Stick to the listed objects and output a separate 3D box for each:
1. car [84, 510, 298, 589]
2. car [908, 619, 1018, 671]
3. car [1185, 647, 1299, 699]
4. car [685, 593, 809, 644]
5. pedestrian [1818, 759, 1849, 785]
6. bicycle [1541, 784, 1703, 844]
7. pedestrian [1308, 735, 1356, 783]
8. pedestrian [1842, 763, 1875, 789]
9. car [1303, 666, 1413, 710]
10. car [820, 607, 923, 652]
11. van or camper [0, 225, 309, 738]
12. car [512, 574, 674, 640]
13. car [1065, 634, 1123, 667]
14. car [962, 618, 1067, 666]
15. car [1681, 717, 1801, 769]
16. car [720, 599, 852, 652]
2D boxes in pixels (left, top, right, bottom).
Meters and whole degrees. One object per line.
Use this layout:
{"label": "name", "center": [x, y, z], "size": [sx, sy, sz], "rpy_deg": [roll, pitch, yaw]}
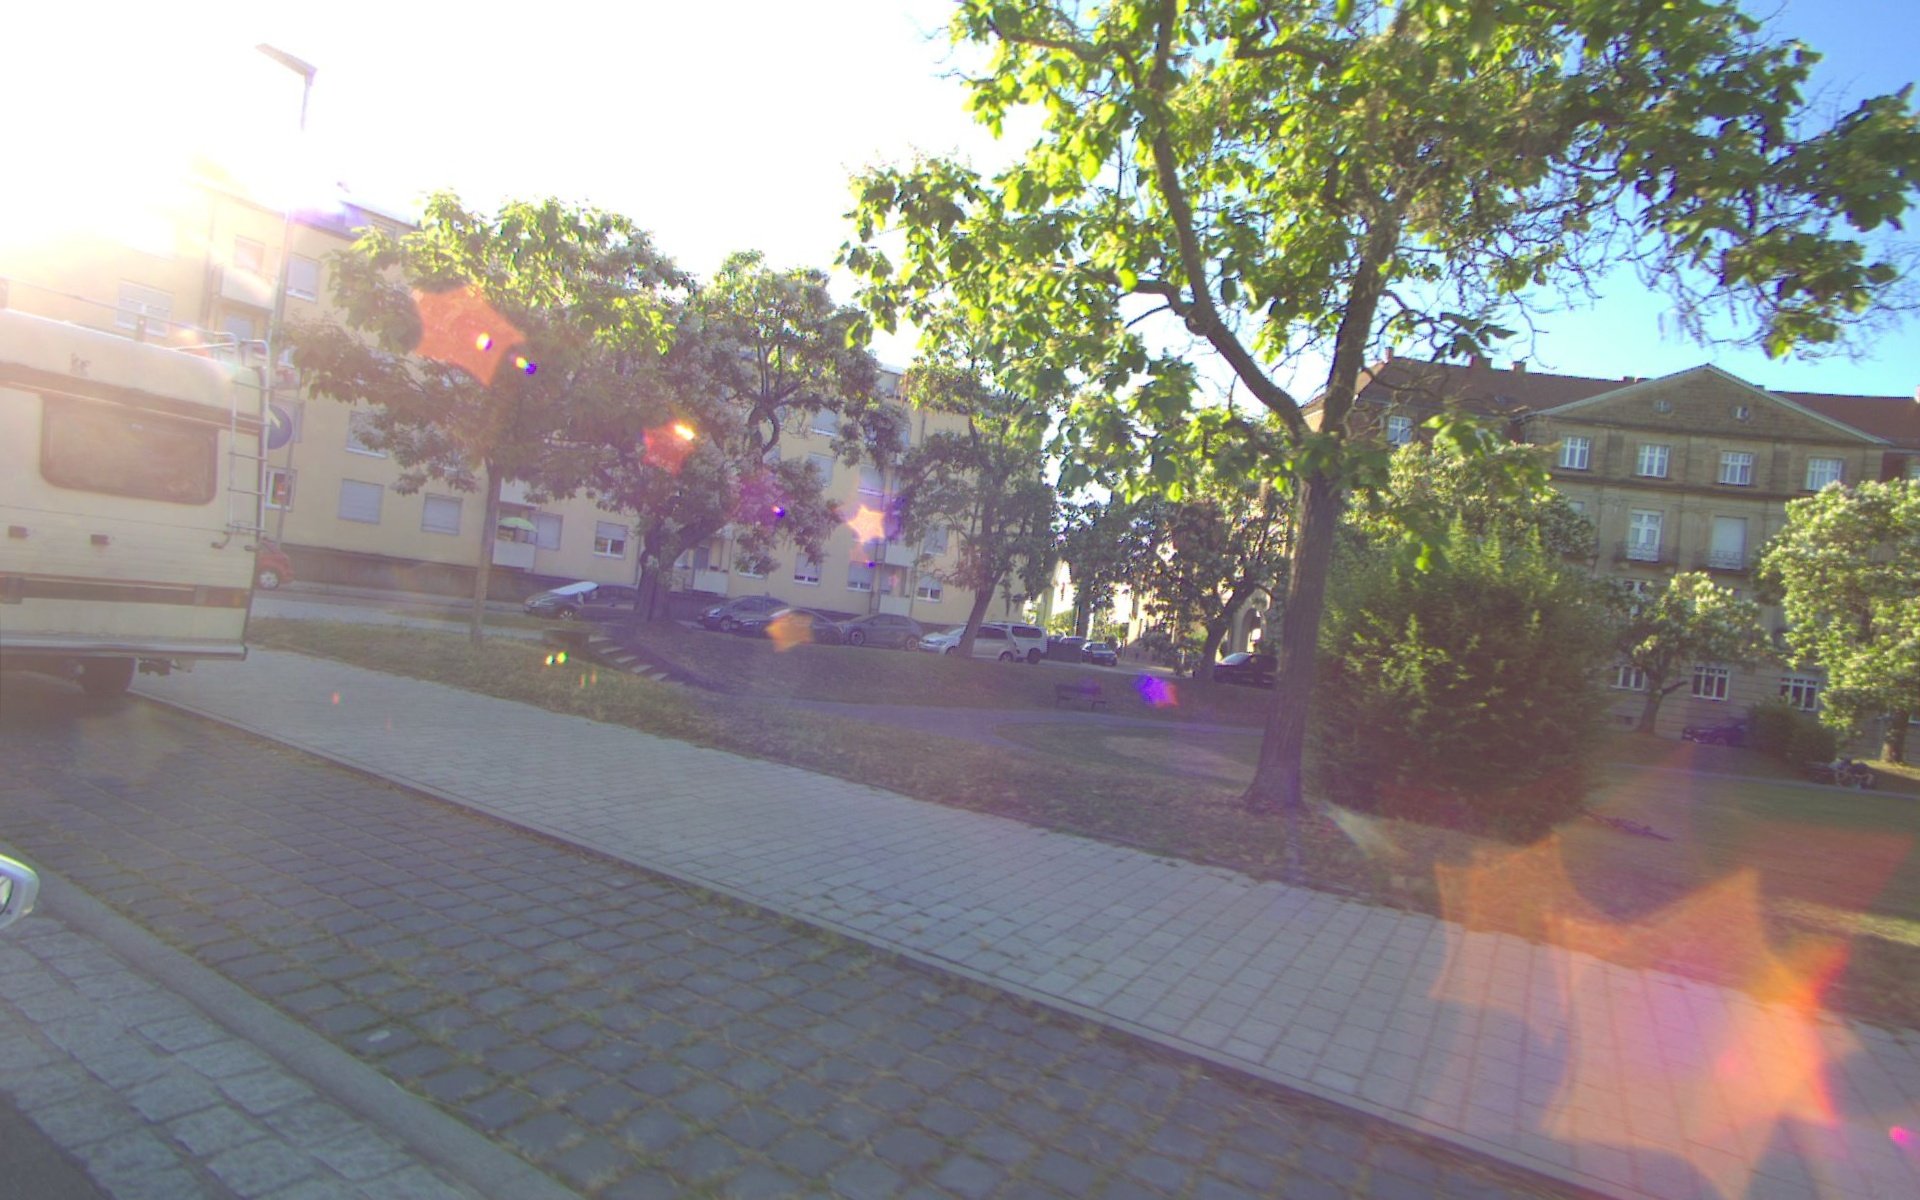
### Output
{"label": "car", "center": [-21.020, -1.351, 27.659], "size": [1.969, 1.549, 4.197], "rpy_deg": [6, -1, 35]}
{"label": "car", "center": [0.135, 1.761, 39.333], "size": [3.959, 1.570, 1.597], "rpy_deg": [7, -1, -32]}
{"label": "car", "center": [12.607, 3.280, 45.068], "size": [4.456, 1.767, 1.875], "rpy_deg": [7, -1, -16]}
{"label": "car", "center": [-8.614, 0.772, 40.867], "size": [4.493, 1.588, 1.860], "rpy_deg": [8, -1, -41]}
{"label": "pedestrian", "center": [32.488, 6.405, 37.427], "size": [0.655, 0.804, 0.587], "rpy_deg": [6, -1, 20]}
{"label": "bicycle", "center": [11.391, 3.662, 17.335], "size": [1.755, 0.622, 1.796], "rpy_deg": [8, -2, -35]}
{"label": "pedestrian", "center": [7.401, 3.146, 19.996], "size": [0.712, 0.822, 0.612], "rpy_deg": [6, -2, 32]}
{"label": "pedestrian", "center": [33.165, 6.496, 37.141], "size": [0.655, 0.804, 0.587], "rpy_deg": [6, -1, 20]}
{"label": "car", "center": [18.568, 4.114, 46.989], "size": [4.291, 1.470, 1.879], "rpy_deg": [7, -1, -7]}
{"label": "car", "center": [-3.854, 1.298, 43.803], "size": [3.958, 1.470, 1.866], "rpy_deg": [7, -1, -31]}
{"label": "van or camper", "center": [-7.724, -0.820, 7.628], "size": [5.578, 2.939, 2.237], "rpy_deg": [5, -1, 31]}
{"label": "car", "center": [-11.012, 0.243, 30.329], "size": [4.183, 1.480, 1.672], "rpy_deg": [8, -2, -44]}
{"label": "car", "center": [8.635, 3.242, 65.173], "size": [1.611, 1.668, 4.224], "rpy_deg": [7, -1, -25]}
{"label": "car", "center": [2.583, 1.981, 47.592], "size": [4.468, 1.767, 1.870], "rpy_deg": [7, -1, -24]}
{"label": "car", "center": [36.834, 6.734, 47.517], "size": [3.925, 1.725, 2.002], "rpy_deg": [7, -2, 3]}
{"label": "car", "center": [-6.021, 0.914, 35.128], "size": [4.175, 1.374, 1.675], "rpy_deg": [8, -1, -39]}
